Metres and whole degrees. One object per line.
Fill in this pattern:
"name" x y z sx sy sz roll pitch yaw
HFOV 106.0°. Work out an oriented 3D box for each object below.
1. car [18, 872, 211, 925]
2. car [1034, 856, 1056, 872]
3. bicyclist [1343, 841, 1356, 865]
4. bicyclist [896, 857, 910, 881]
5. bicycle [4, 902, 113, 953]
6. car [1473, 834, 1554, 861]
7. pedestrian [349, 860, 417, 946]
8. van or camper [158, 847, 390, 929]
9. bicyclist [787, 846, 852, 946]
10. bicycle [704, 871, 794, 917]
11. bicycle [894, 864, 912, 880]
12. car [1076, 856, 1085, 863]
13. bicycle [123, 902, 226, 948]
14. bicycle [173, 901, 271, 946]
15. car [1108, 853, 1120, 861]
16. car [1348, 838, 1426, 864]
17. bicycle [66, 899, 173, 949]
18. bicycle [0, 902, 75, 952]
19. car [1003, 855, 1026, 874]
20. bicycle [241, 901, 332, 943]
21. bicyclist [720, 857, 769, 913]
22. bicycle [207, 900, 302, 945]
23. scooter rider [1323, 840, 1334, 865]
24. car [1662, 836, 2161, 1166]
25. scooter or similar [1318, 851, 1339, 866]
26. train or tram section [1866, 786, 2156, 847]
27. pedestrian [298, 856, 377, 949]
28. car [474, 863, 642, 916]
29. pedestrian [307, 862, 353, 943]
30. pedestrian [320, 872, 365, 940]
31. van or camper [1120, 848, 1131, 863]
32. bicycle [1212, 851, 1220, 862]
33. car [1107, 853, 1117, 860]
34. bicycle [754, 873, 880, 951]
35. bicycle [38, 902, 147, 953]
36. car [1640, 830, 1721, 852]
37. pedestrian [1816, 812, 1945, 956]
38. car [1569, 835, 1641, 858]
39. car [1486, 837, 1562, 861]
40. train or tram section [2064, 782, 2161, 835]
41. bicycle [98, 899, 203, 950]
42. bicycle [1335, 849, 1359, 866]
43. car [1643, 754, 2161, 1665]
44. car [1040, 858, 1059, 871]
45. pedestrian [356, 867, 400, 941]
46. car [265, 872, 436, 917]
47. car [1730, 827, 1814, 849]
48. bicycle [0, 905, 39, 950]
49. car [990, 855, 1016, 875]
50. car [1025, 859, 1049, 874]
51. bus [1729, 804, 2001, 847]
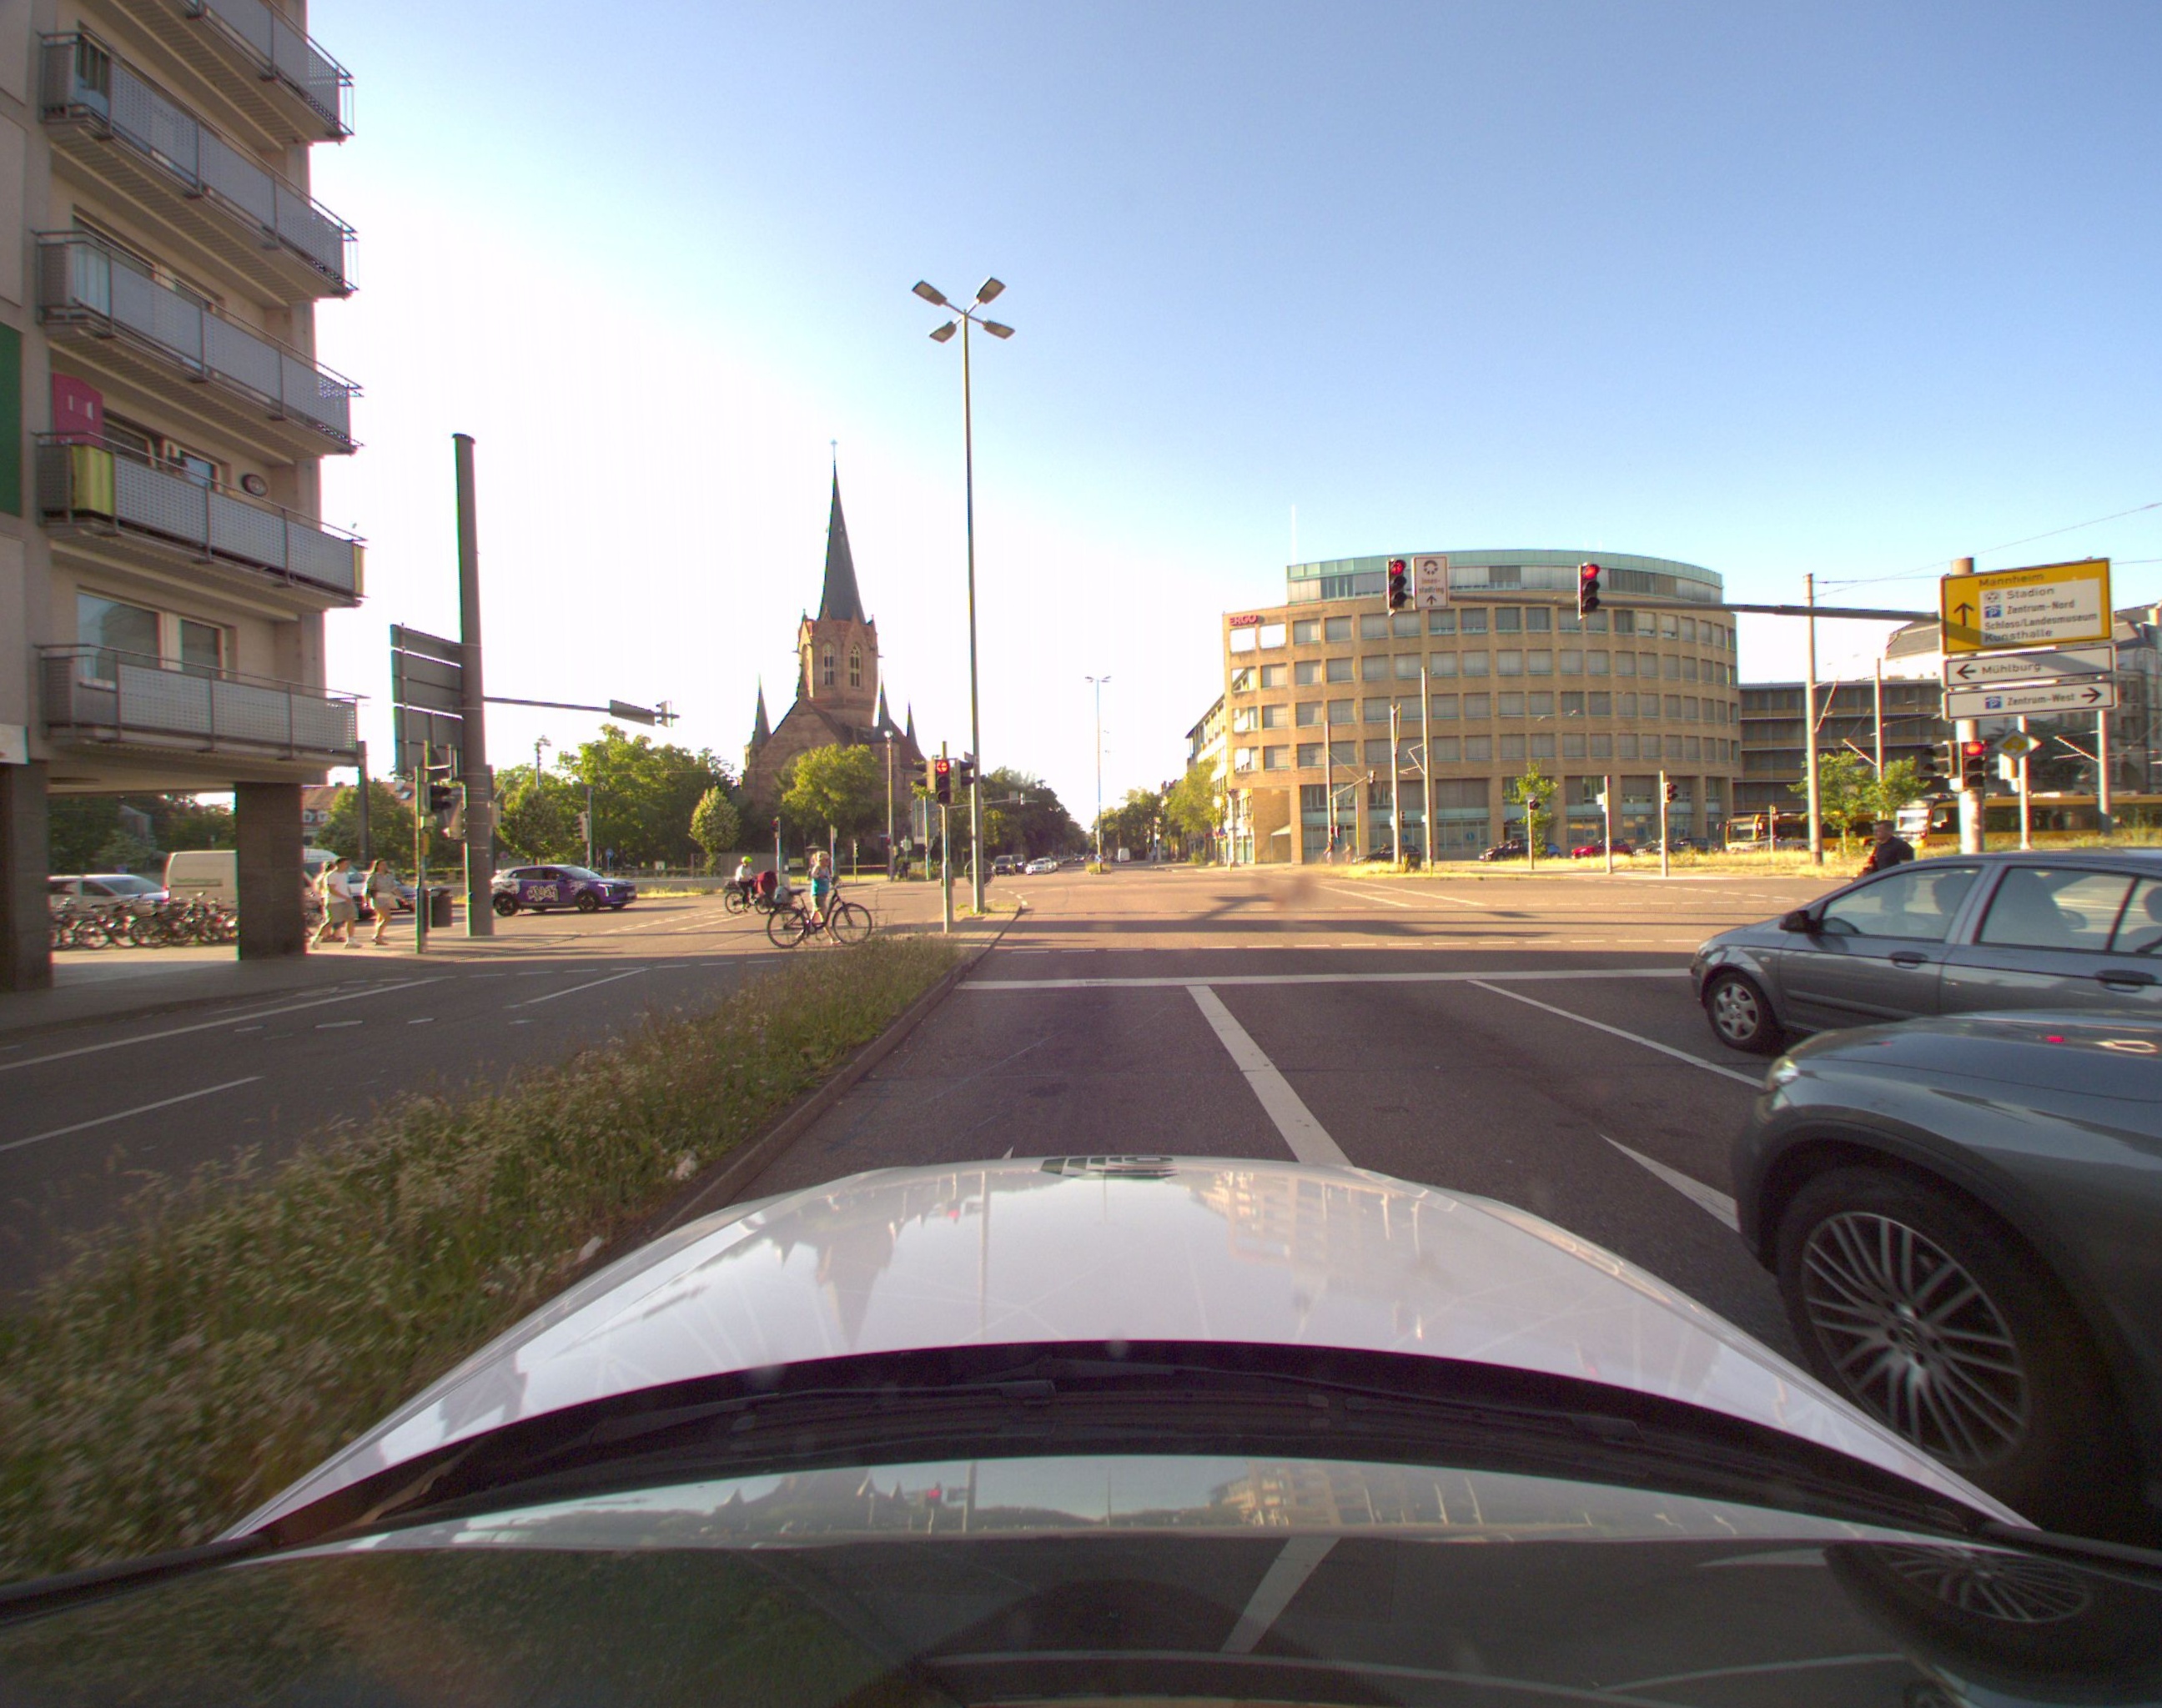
"car" -35.267 1.601 29.814 4.440 1.672 2.120 -2 0 0
"car" -3.447 0.930 77.868 1.774 1.464 4.001 -2 0 1
"bicyclist" 19.550 -0.066 59.236 0.786 1.736 0.476 -2 0 7
"bicyclist" -12.938 1.074 59.209 0.644 1.694 0.773 -2 0 -36
"bicycle" -24.245 1.710 19.363 0.497 1.036 1.932 -2 0 -13
"car" 28.427 -0.396 53.630 4.212 1.614 2.001 -2 0 2
"pedestrian" -14.281 0.987 16.673 0.749 1.709 0.676 -2 0 9
"van or camper" -26.311 1.056 26.693 5.401 2.416 2.166 -2 0 1
"bicyclist" -4.525 0.703 14.159 0.780 1.660 0.900 -2 0 0
"bicycle" -9.368 1.122 23.093 2.037 1.168 1.161 -2 0 -2
"bicycle" -12.986 1.324 59.283 0.650 1.139 1.661 -2 0 -36
"car" -0.127 1.105 177.328 1.774 1.448 4.001 -2 0 1
"bicycle" -21.352 1.652 19.233 0.494 0.906 1.703 -2 0 0
"bicycle" -20.268 1.627 19.270 0.494 0.906 1.703 -2 0 0
"car" 7.183 0.570 176.214 1.990 1.592 3.993 -2 0 -5
"car" 21.208 -0.214 56.527 4.635 1.598 1.998 -2 0 -2
"bicycle" -22.754 1.631 19.315 0.494 1.031 1.703 -2 0 0
"bicycle" -25.149 1.724 19.338 0.497 1.036 1.932 -2 0 -13
"car" -6.418 0.979 79.243 1.774 1.704 4.001 -2 0 1
"bicycle" -18.863 1.603 19.383 0.494 0.840 1.703 -2 0 0
"bicyclist" -9.508 0.860 23.076 0.877 1.487 1.161 -2 0 -1
"bicycle" -19.644 1.611 19.406 0.494 0.906 1.703 -2 0 0
"scooter rider" 18.291 -0.086 60.172 0.676 1.814 0.476 -2 0 7
"car" 5.537 0.635 4.853 1.579 1.446 3.647 0 0 0
"scooter or similar" 18.261 0.329 60.172 1.393 1.001 0.476 -2 0 7
"train or tram section" 58.027 -2.339 50.868 17.105 3.177 3.687 -2 0 -10
"pedestrian" -14.558 0.942 15.965 0.917 1.758 0.676 -2 0 9
"car" -17.388 1.155 27.219 4.386 1.573 1.836 -2 0 1
"pedestrian" -16.717 1.068 18.134 0.550 1.769 0.470 -2 0 2
"pedestrian" -17.130 1.197 18.900 0.466 1.530 0.576 -2 0 0
"van or camper" 8.196 0.260 151.015 1.986 2.640 5.353 -2 0 2
"bicycle" 14.701 0.251 88.927 0.769 1.195 2.471 -2 0 8
"car" 6.949 0.516 181.885 1.989 1.592 3.996 -2 0 -3
"bicycle" -4.391 0.945 13.616 1.822 1.188 0.734 -2 0 -1
"bicycle" -23.389 1.710 19.314 0.494 1.036 1.703 -2 0 0
"car" 39.885 -0.859 54.241 3.976 1.346 1.999 -2 0 -2
"pedestrian" 10.282 0.378 10.506 0.940 1.768 0.670 -2 0 5
"car" 34.637 -0.485 53.893 3.595 1.342 1.722 -2 0 1
"car" 30.991 -0.359 57.064 4.219 1.502 1.998 -2 0 -3
"train or tram section" 75.598 -3.195 55.568 19.945 3.177 3.678 -2 0 -18
"bicycle" -21.988 1.645 19.288 0.494 1.038 1.703 -2 0 0
"bicycle" 19.352 0.226 59.276 1.511 1.172 0.476 -2 0 7
"car" 2.805 0.618 0.518 1.778 1.632 4.478 -2 0 0
"car" -3.285 1.130 85.389 1.774 1.236 4.001 -2 0 1
"pedestrian" -16.173 1.145 18.734 0.464 1.642 0.579 -2 0 20
"car" -26.966 1.459 30.167 4.470 1.409 1.960 -2 0 -1
"car" 46.120 -1.051 54.428 3.976 1.346 1.999 -2 0 -2
"bicycle" -25.908 1.777 19.225 0.497 1.036 1.932 -2 0 -13
"car" -6.829 0.919 71.844 1.774 1.647 4.001 -2 0 1
"car" -3.809 1.078 71.294 1.774 1.236 4.001 -2 0 1
"bus" 55.676 -2.010 57.928 18.132 2.436 2.419 -2 0 -4
